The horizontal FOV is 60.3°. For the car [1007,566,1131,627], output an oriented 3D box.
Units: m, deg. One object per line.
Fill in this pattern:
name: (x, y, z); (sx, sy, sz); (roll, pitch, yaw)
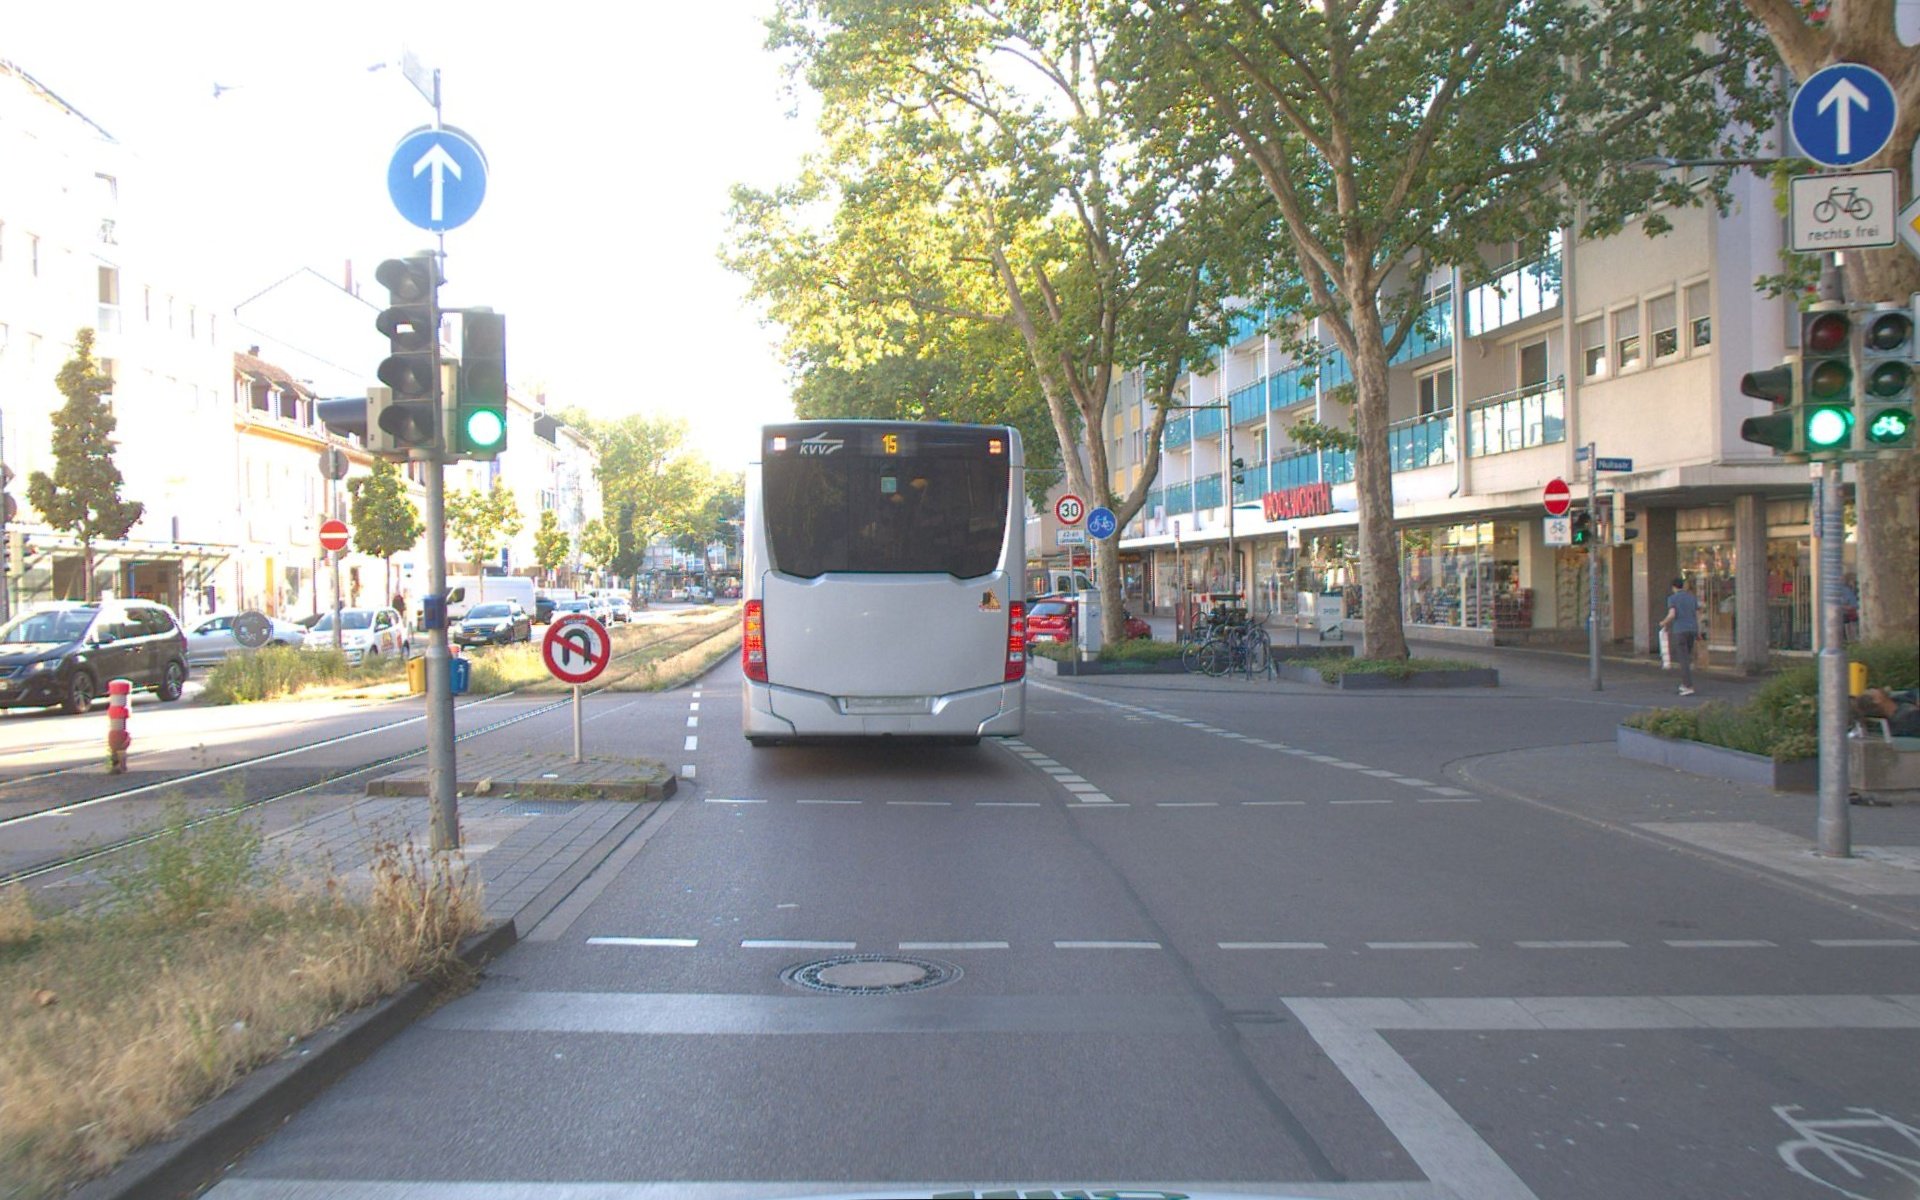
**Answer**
car: (3.700, -0.132, 55.928); (3.964, 2.004, 1.970); (-1, 0, -41)

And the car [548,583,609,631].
car: (-16.857, 0.304, 73.258); (1.954, 2.049, 3.998); (-1, 0, -3)

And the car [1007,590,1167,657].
car: (3.195, 0.554, 41.011); (1.964, 1.557, 3.976); (-1, 0, 42)

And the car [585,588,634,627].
car: (-19.061, 0.382, 90.090); (1.954, 2.049, 3.998); (-1, 0, -3)

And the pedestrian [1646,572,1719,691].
pedestrian: (11.432, 0.489, 26.174); (0.764, 1.825, 0.764); (-2, 0, 0)

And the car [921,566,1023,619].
car: (0.501, -0.288, 64.937); (1.961, 2.004, 3.982); (-1, 0, 38)

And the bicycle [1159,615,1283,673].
bicycle: (5.128, 0.859, 32.526); (2.267, 1.046, 0.836); (-1, 1, -8)

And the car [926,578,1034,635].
car: (0.773, 0.233, 60.773); (1.961, 2.004, 3.982); (-1, 0, 38)

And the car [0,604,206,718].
car: (-14.187, 0.923, 26.759); (1.743, 1.643, 4.509); (-1, 0, 2)

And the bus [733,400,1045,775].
bus: (-0.807, -0.113, 17.500); (2.625, 3.137, 7.109); (0, 0, -4)

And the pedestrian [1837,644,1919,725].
pedestrian: (7.518, 0.646, 12.793); (1.228, 0.599, 0.482); (0, 0, -2)

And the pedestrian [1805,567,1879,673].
pedestrian: (14.593, 0.319, 27.380); (0.733, 1.708, 0.834); (-1, 2, -6)

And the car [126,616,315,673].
car: (-20.554, 1.212, 46.038); (4.503, 1.437, 1.974); (-1, 0, -37)

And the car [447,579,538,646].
car: (-15.194, 0.397, 53.957); (1.954, 2.049, 3.998); (-1, 0, -3)

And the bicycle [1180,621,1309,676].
bicycle: (5.361, 0.909, 31.249); (2.267, 0.956, 0.836); (-1, 1, -8)

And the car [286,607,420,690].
car: (-14.402, 1.110, 39.466); (1.860, 1.836, 3.998); (-1, 0, -3)

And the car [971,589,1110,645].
car: (2.368, 0.475, 47.953); (1.964, 1.557, 3.976); (-1, 0, 42)
